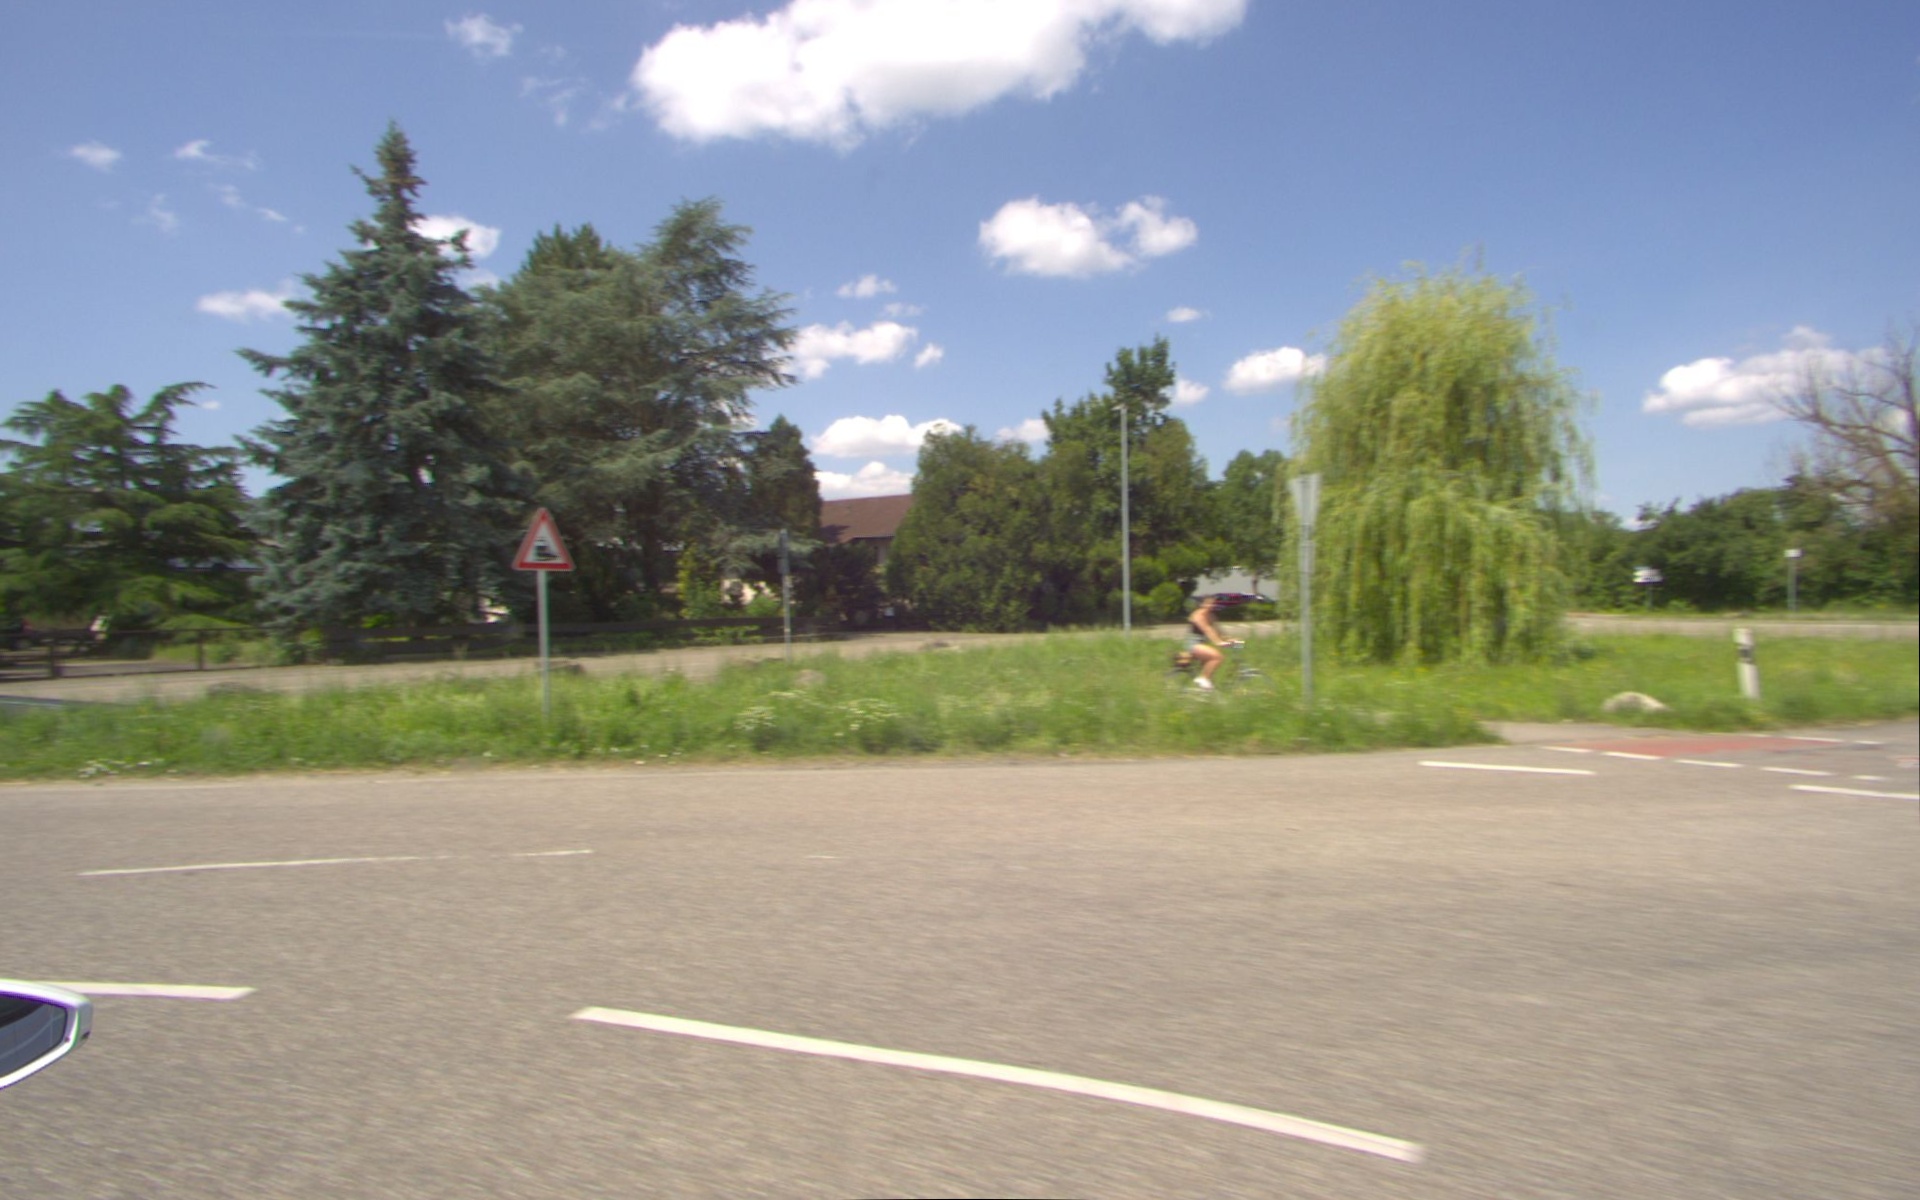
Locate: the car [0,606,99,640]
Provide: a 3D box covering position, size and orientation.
[{"bbox_3d":[-46.673,1.150,51.385,1.544,1.607,3.514,0,1,34],"label":"car"}]

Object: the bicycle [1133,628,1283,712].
[{"bbox_3d":[3.750,1.031,15.253,2.117,1.180,0.657,-1,1,34],"label":"bicycle"}]

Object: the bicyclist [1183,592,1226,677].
[{"bbox_3d":[3.726,0.516,15.268,0.504,1.272,0.467,-1,0,33],"label":"bicyclist"}]
